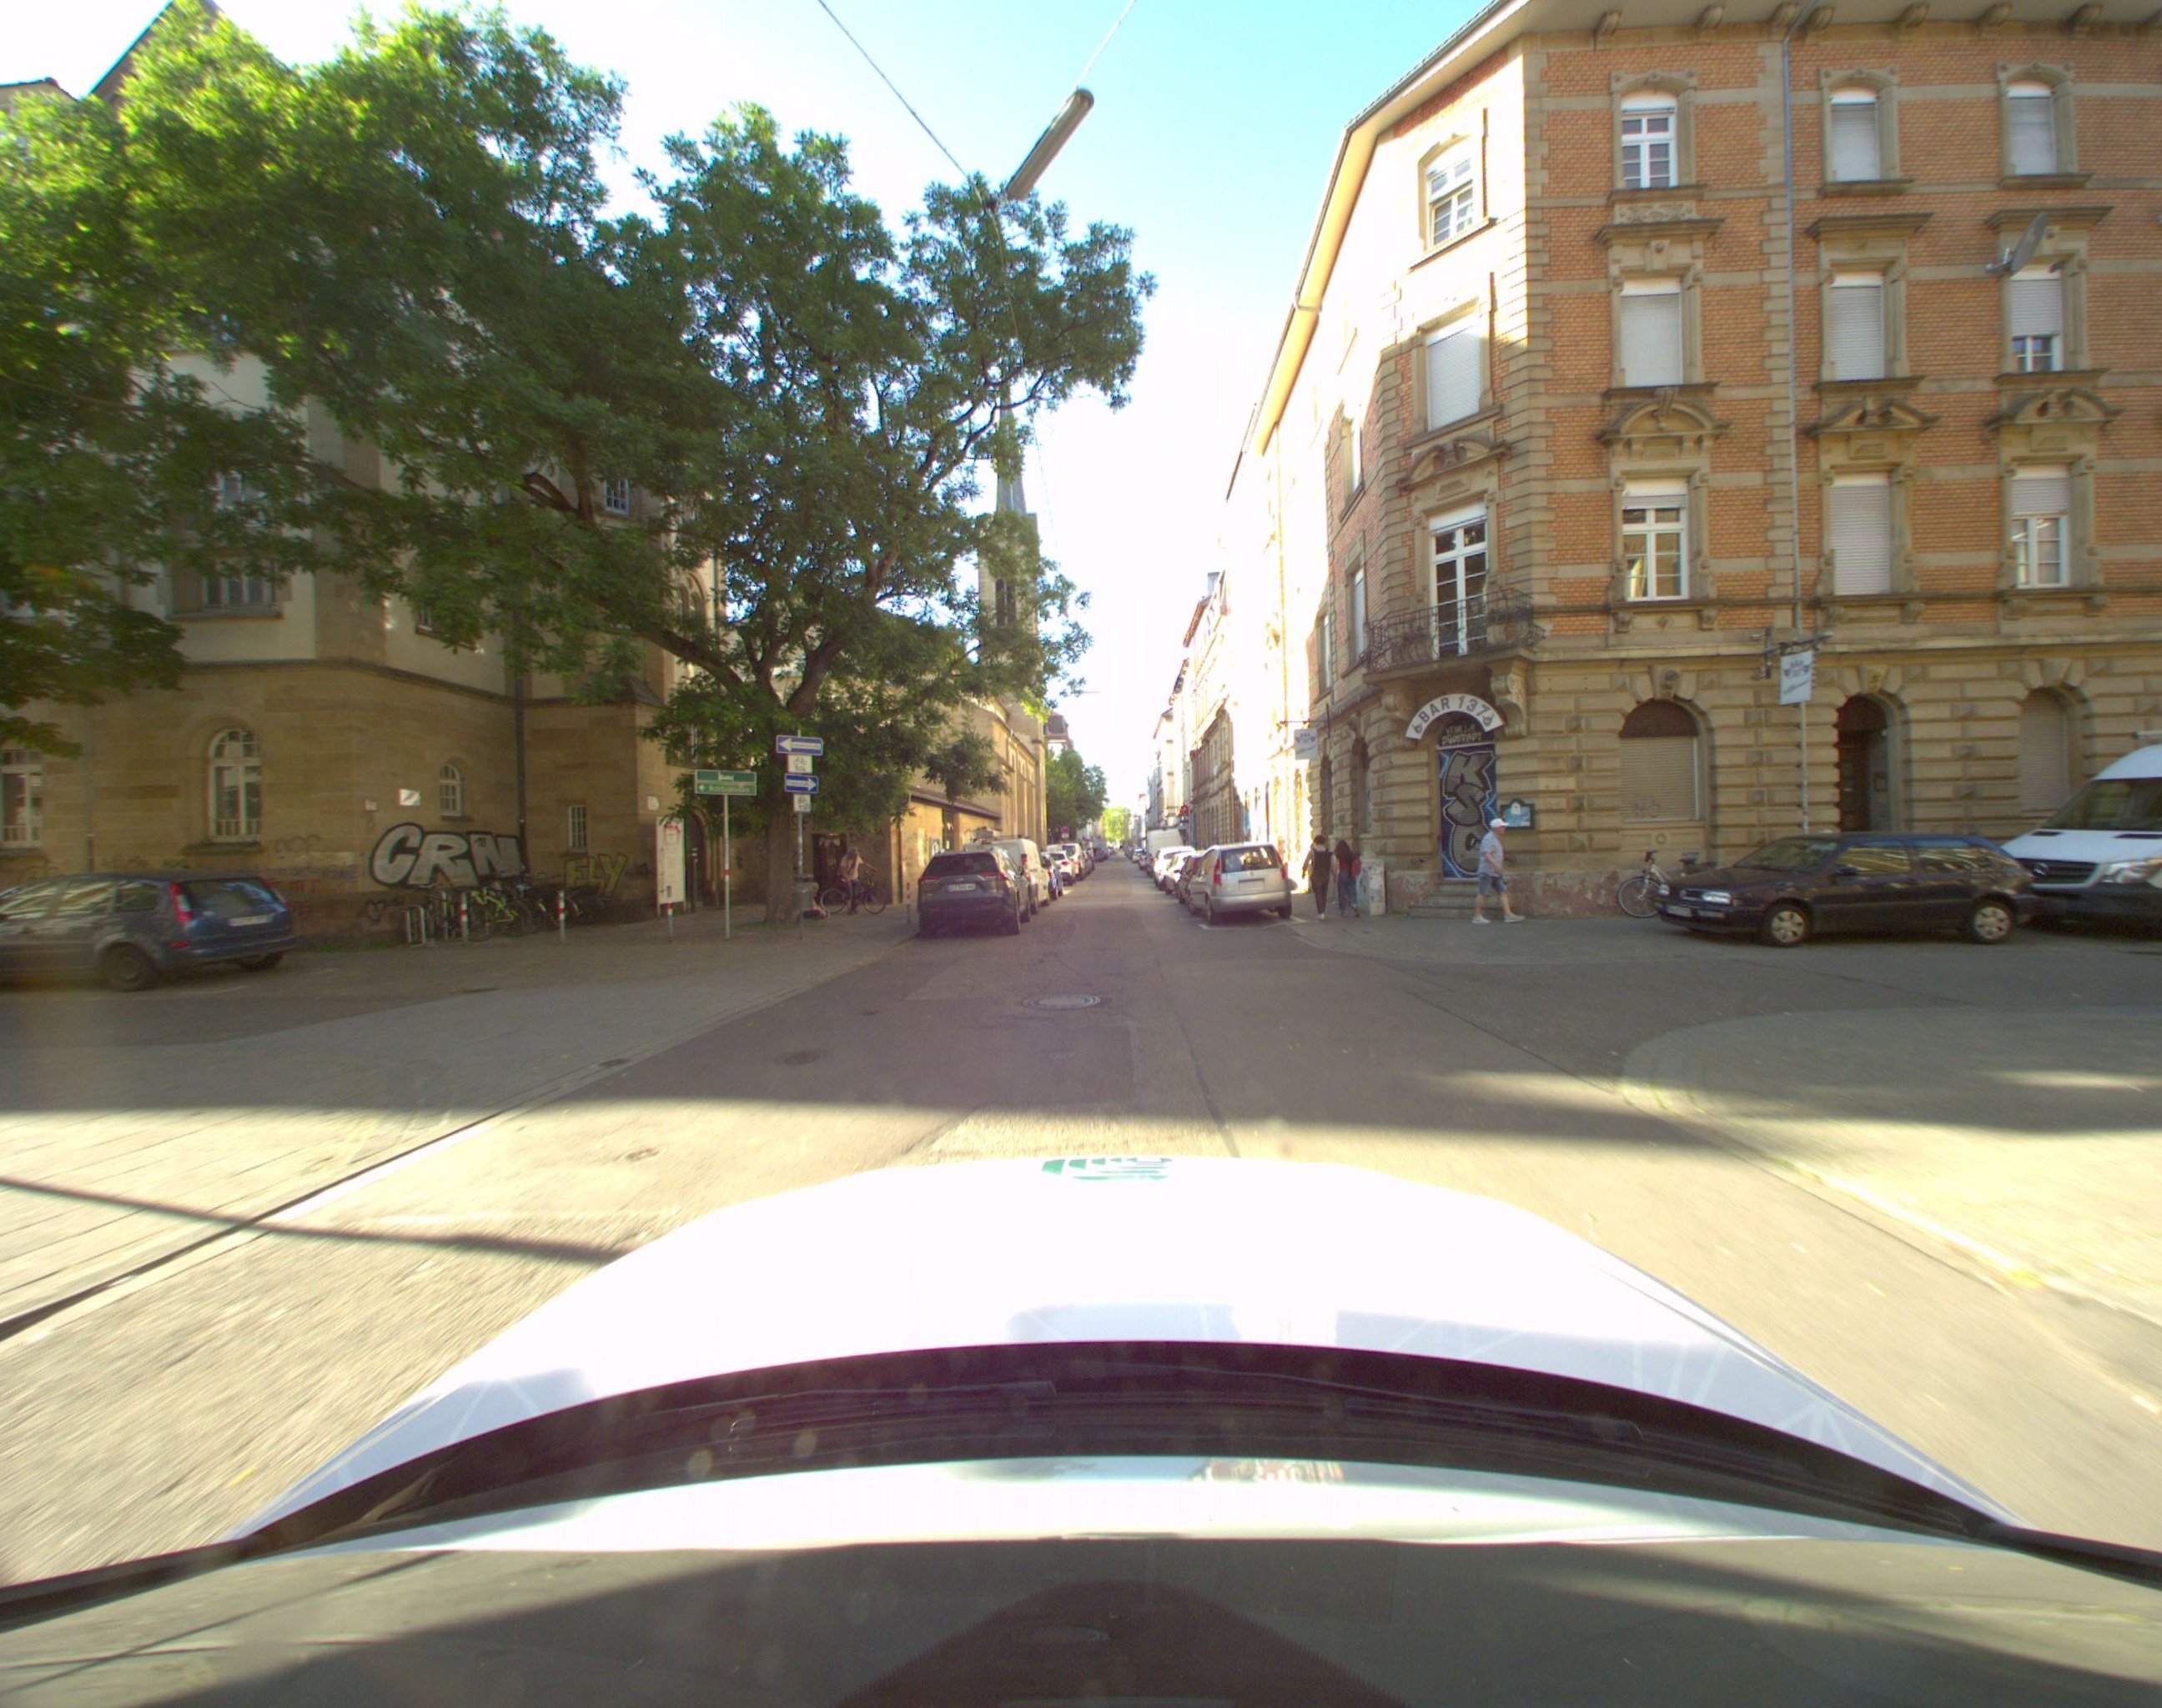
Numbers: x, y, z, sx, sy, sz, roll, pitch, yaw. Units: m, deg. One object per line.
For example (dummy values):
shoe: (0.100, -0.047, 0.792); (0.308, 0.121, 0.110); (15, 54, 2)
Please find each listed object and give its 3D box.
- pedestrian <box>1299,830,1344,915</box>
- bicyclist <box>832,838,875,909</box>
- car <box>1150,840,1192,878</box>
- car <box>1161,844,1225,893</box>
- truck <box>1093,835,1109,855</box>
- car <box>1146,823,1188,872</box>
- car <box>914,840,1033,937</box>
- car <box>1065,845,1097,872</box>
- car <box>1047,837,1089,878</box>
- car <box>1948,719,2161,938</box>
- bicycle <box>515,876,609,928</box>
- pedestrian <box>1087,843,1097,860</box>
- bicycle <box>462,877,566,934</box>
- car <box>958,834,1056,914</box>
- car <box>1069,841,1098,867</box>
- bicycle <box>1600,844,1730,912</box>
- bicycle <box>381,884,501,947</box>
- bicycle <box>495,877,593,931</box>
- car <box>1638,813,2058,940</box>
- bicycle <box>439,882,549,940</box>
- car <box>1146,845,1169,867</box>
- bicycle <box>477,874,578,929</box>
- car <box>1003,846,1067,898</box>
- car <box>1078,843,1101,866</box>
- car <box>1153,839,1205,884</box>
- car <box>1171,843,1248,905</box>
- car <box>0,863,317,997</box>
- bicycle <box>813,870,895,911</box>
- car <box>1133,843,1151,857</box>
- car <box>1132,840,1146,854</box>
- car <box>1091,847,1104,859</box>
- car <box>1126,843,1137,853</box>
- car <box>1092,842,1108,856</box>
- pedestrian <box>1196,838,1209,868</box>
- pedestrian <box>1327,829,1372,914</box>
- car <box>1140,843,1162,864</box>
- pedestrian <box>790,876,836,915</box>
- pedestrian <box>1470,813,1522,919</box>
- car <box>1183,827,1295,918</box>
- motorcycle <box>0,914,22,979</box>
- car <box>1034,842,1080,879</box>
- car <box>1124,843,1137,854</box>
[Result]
pedestrian: (4.737, 0.347, 16.078); (0.589, 1.603, 0.727); (-3, 1, 1)
bicyclist: (-5.650, 0.475, 20.241); (0.800, 1.723, 0.694); (1, 1, 11)
car: (4.255, 0.199, 38.862); (1.680, 1.642, 3.927); (-2, 1, 3)
car: (3.726, 0.436, 27.662); (1.567, 1.525, 3.906); (0, 1, -1)
truck: (3.559, -1.602, 142.150); (2.521, 3.281, 7.001); (-2, 1, 3)
car: (4.885, -0.417, 47.099); (2.059, 2.610, 5.893); (-2, 1, 3)
car: (-2.031, 0.583, 16.595); (1.735, 1.646, 4.289); (-2, 1, 1)
car: (0.039, 0.252, 49.537); (1.608, 1.451, 3.953); (-4, 1, 3)
car: (-0.659, 0.155, 43.552); (1.857, 1.957, 4.613); (-4, 1, 2)
car: (16.097, -0.478, 10.828); (6.781, 2.650, 2.069); (-2, 3, 2)
bicycle: (-11.650, 1.080, 18.303); (1.769, 1.054, 0.478); (-2, 1, 1)
pedestrian: (1.150, -0.270, 88.021); (0.776, 1.843, 1.016); (-1, 1, 17)
bicycle: (-11.701, 1.057, 16.818); (1.769, 1.054, 0.478); (-2, 1, 1)
car: (-1.847, 0.432, 21.767); (1.837, 1.862, 4.470); (-2, 1, 4)
car: (0.202, -0.029, 54.581); (1.666, 1.558, 4.002); (-3, 1, 2)
bicycle: (9.842, 0.399, 13.756); (1.769, 1.054, 0.534); (-3, 0, 1)
bicycle: (-11.922, 1.147, 15.194); (1.769, 1.054, 0.534); (-2, 1, 1)
bicycle: (-11.676, 1.084, 17.734); (1.769, 1.054, 0.478); (-2, 1, 1)
car: (10.157, 0.269, 11.042); (3.963, 1.452, 1.735); (-2, 1, 3)
bicycle: (-11.748, 1.135, 16.330); (1.769, 1.054, 0.534); (-2, 1, 1)
car: (5.411, 0.090, 57.874); (1.563, 1.495, 3.657); (-1, 1, 4)
bicycle: (-11.690, 0.992, 17.209); (1.769, 1.054, 0.478); (-2, 1, 1)
car: (-1.463, 0.546, 27.210); (1.681, 1.476, 3.863); (-4, 1, 2)
car: (0.668, 0.035, 64.358); (1.594, 1.614, 3.810); (-4, 0, 2)
car: (3.875, 0.270, 32.725); (1.800, 1.689, 4.218); (0, 0, 3)
car: (3.453, 0.479, 22.476); (1.530, 1.513, 3.682); (-3, 1, 1)
car: (-13.751, 1.034, 11.610); (3.971, 1.598, 1.772); (-2, 2, 2)
bicycle: (-5.635, 0.890, 20.246); (1.750, 0.923, 0.829); (1, 1, 11)
car: (6.868, -0.477, 91.493); (1.889, 1.488, 3.873); (-2, 1, 3)
car: (7.977, -1.002, 112.242); (1.762, 1.740, 4.004); (-2, 1, 3)
car: (2.548, -0.143, 125.514); (1.869, 1.796, 4.000); (-2, 1, 0)
car: (10.406, -1.257, 168.005); (1.985, 2.013, 4.004); (-2, 1, 3)
car: (2.432, -0.660, 103.923); (1.868, 1.796, 4.004); (-2, 1, 3)
pedestrian: (7.444, -0.065, 49.906); (0.634, 1.772, 0.682); (0, 0, 23)
pedestrian: (5.342, 0.328, 16.226); (0.572, 1.621, 0.734); (-3, 1, 1)
car: (5.431, -0.054, 63.306); (1.596, 1.504, 4.005); (-1, 1, 4)
pedestrian: (-6.036, 0.920, 18.321); (0.919, 0.778, 0.698); (-3, 1, -22)
pedestrian: (6.975, 0.190, 13.719); (0.656, 1.732, 0.579); (-3, 1, 22)
car: (3.341, 0.334, 17.914); (1.697, 1.714, 3.939); (-3, 1, 1)
motorcycle: (-16.906, 1.448, 11.688); (0.567, 0.975, 2.105); (-2, 1, 2)
car: (-1.063, 0.274, 37.652); (1.735, 1.586, 3.872); (-2, 1, 3)
car: (7.672, -0.889, 125.963); (1.985, 1.632, 4.004); (0, 1, 3)
